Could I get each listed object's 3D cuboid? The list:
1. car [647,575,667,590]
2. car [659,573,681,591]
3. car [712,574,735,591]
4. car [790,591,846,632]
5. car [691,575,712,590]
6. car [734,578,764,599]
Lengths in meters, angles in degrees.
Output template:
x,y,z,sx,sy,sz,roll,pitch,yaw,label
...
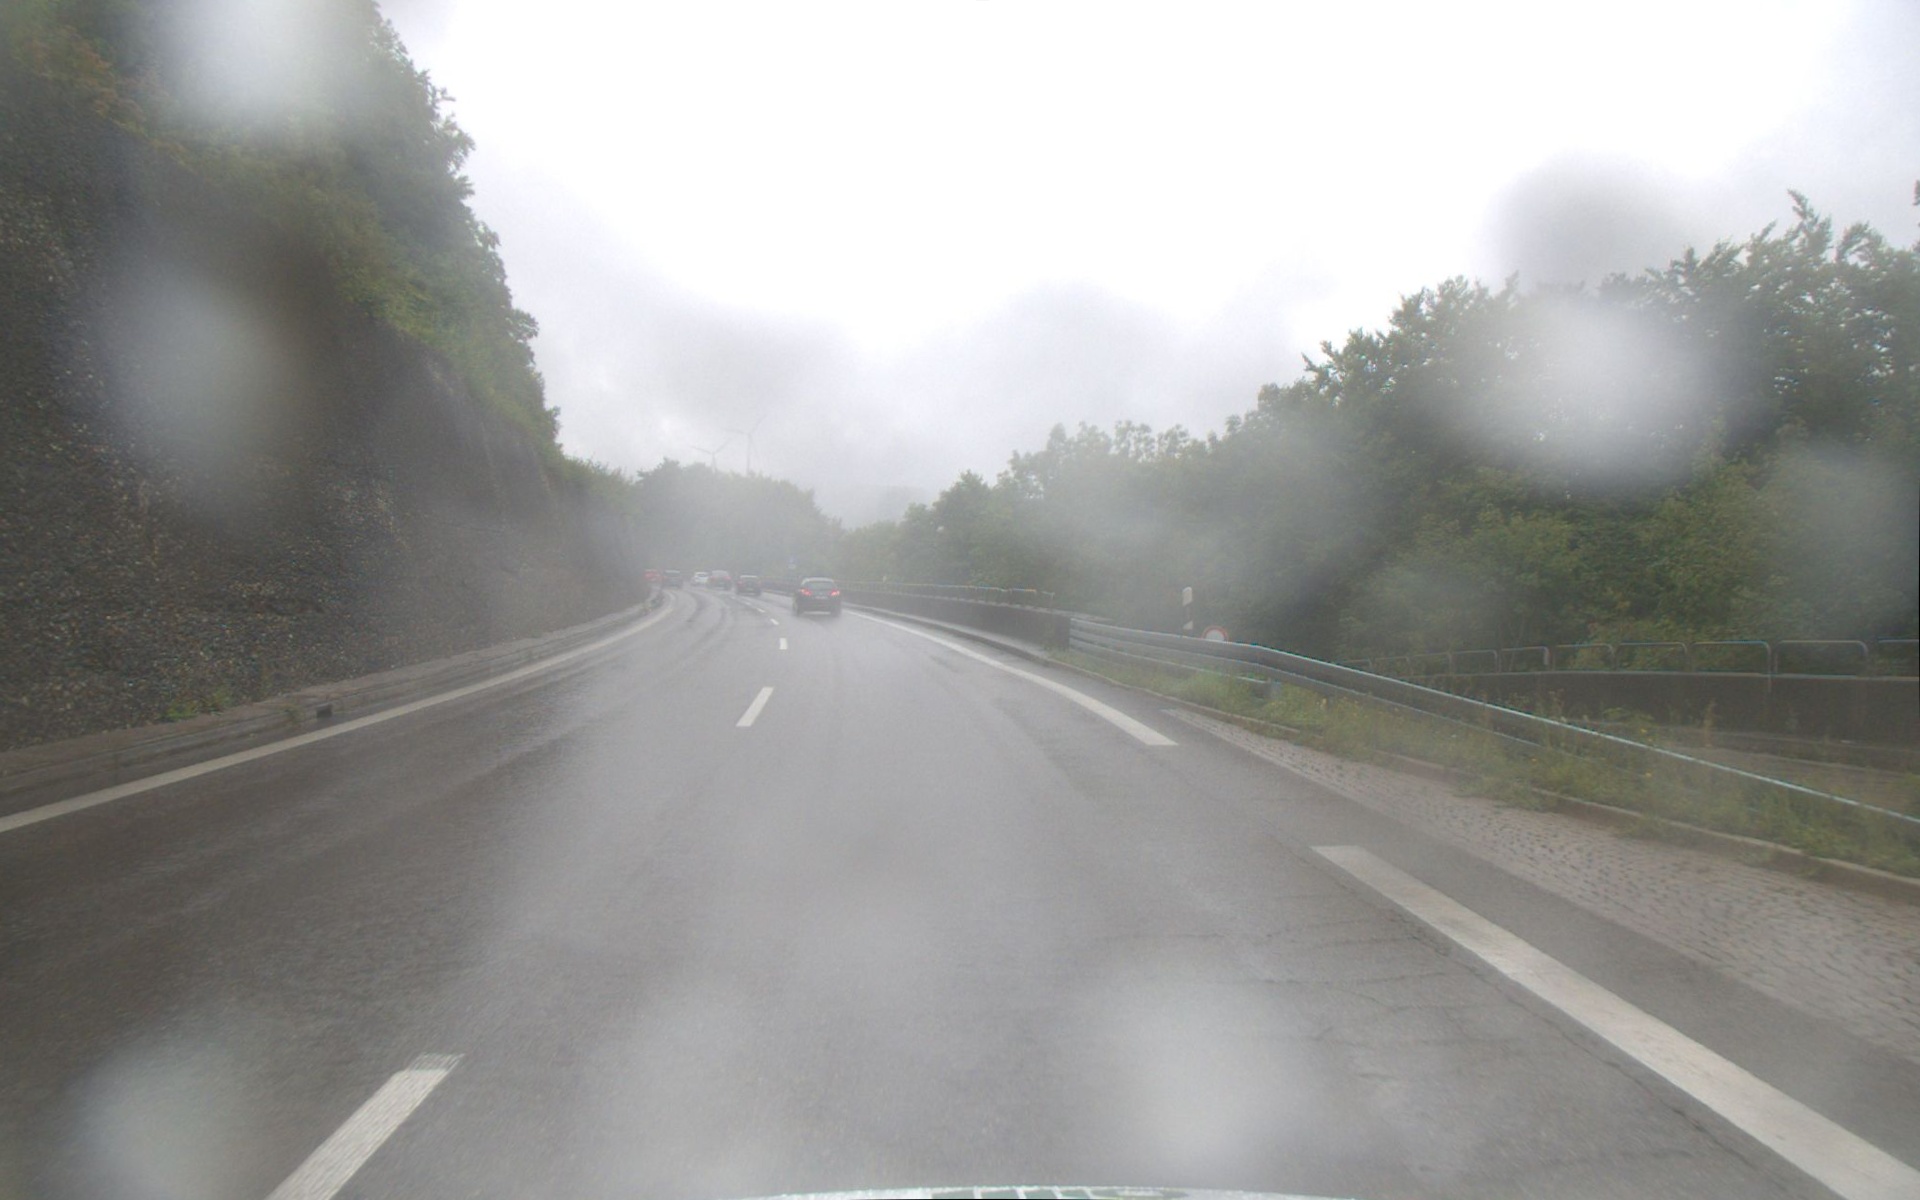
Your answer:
x,y,z,sx,sy,sz,roll,pitch,yaw,label
-32.138,-1.908,175.237,1.871,1.525,3.987,1,1,-13,car
-26.097,-1.619,148.799,1.870,1.525,3.989,1,1,-11,car
-21.681,-1.588,151.821,1.870,1.525,3.989,1,1,-11,car
-5.772,0.446,66.885,1.869,1.525,3.991,1,1,-10,car
-26.828,-1.835,171.536,1.870,1.525,3.989,1,1,-12,car
-15.724,-0.849,123.002,1.870,1.525,3.988,1,1,-12,car
